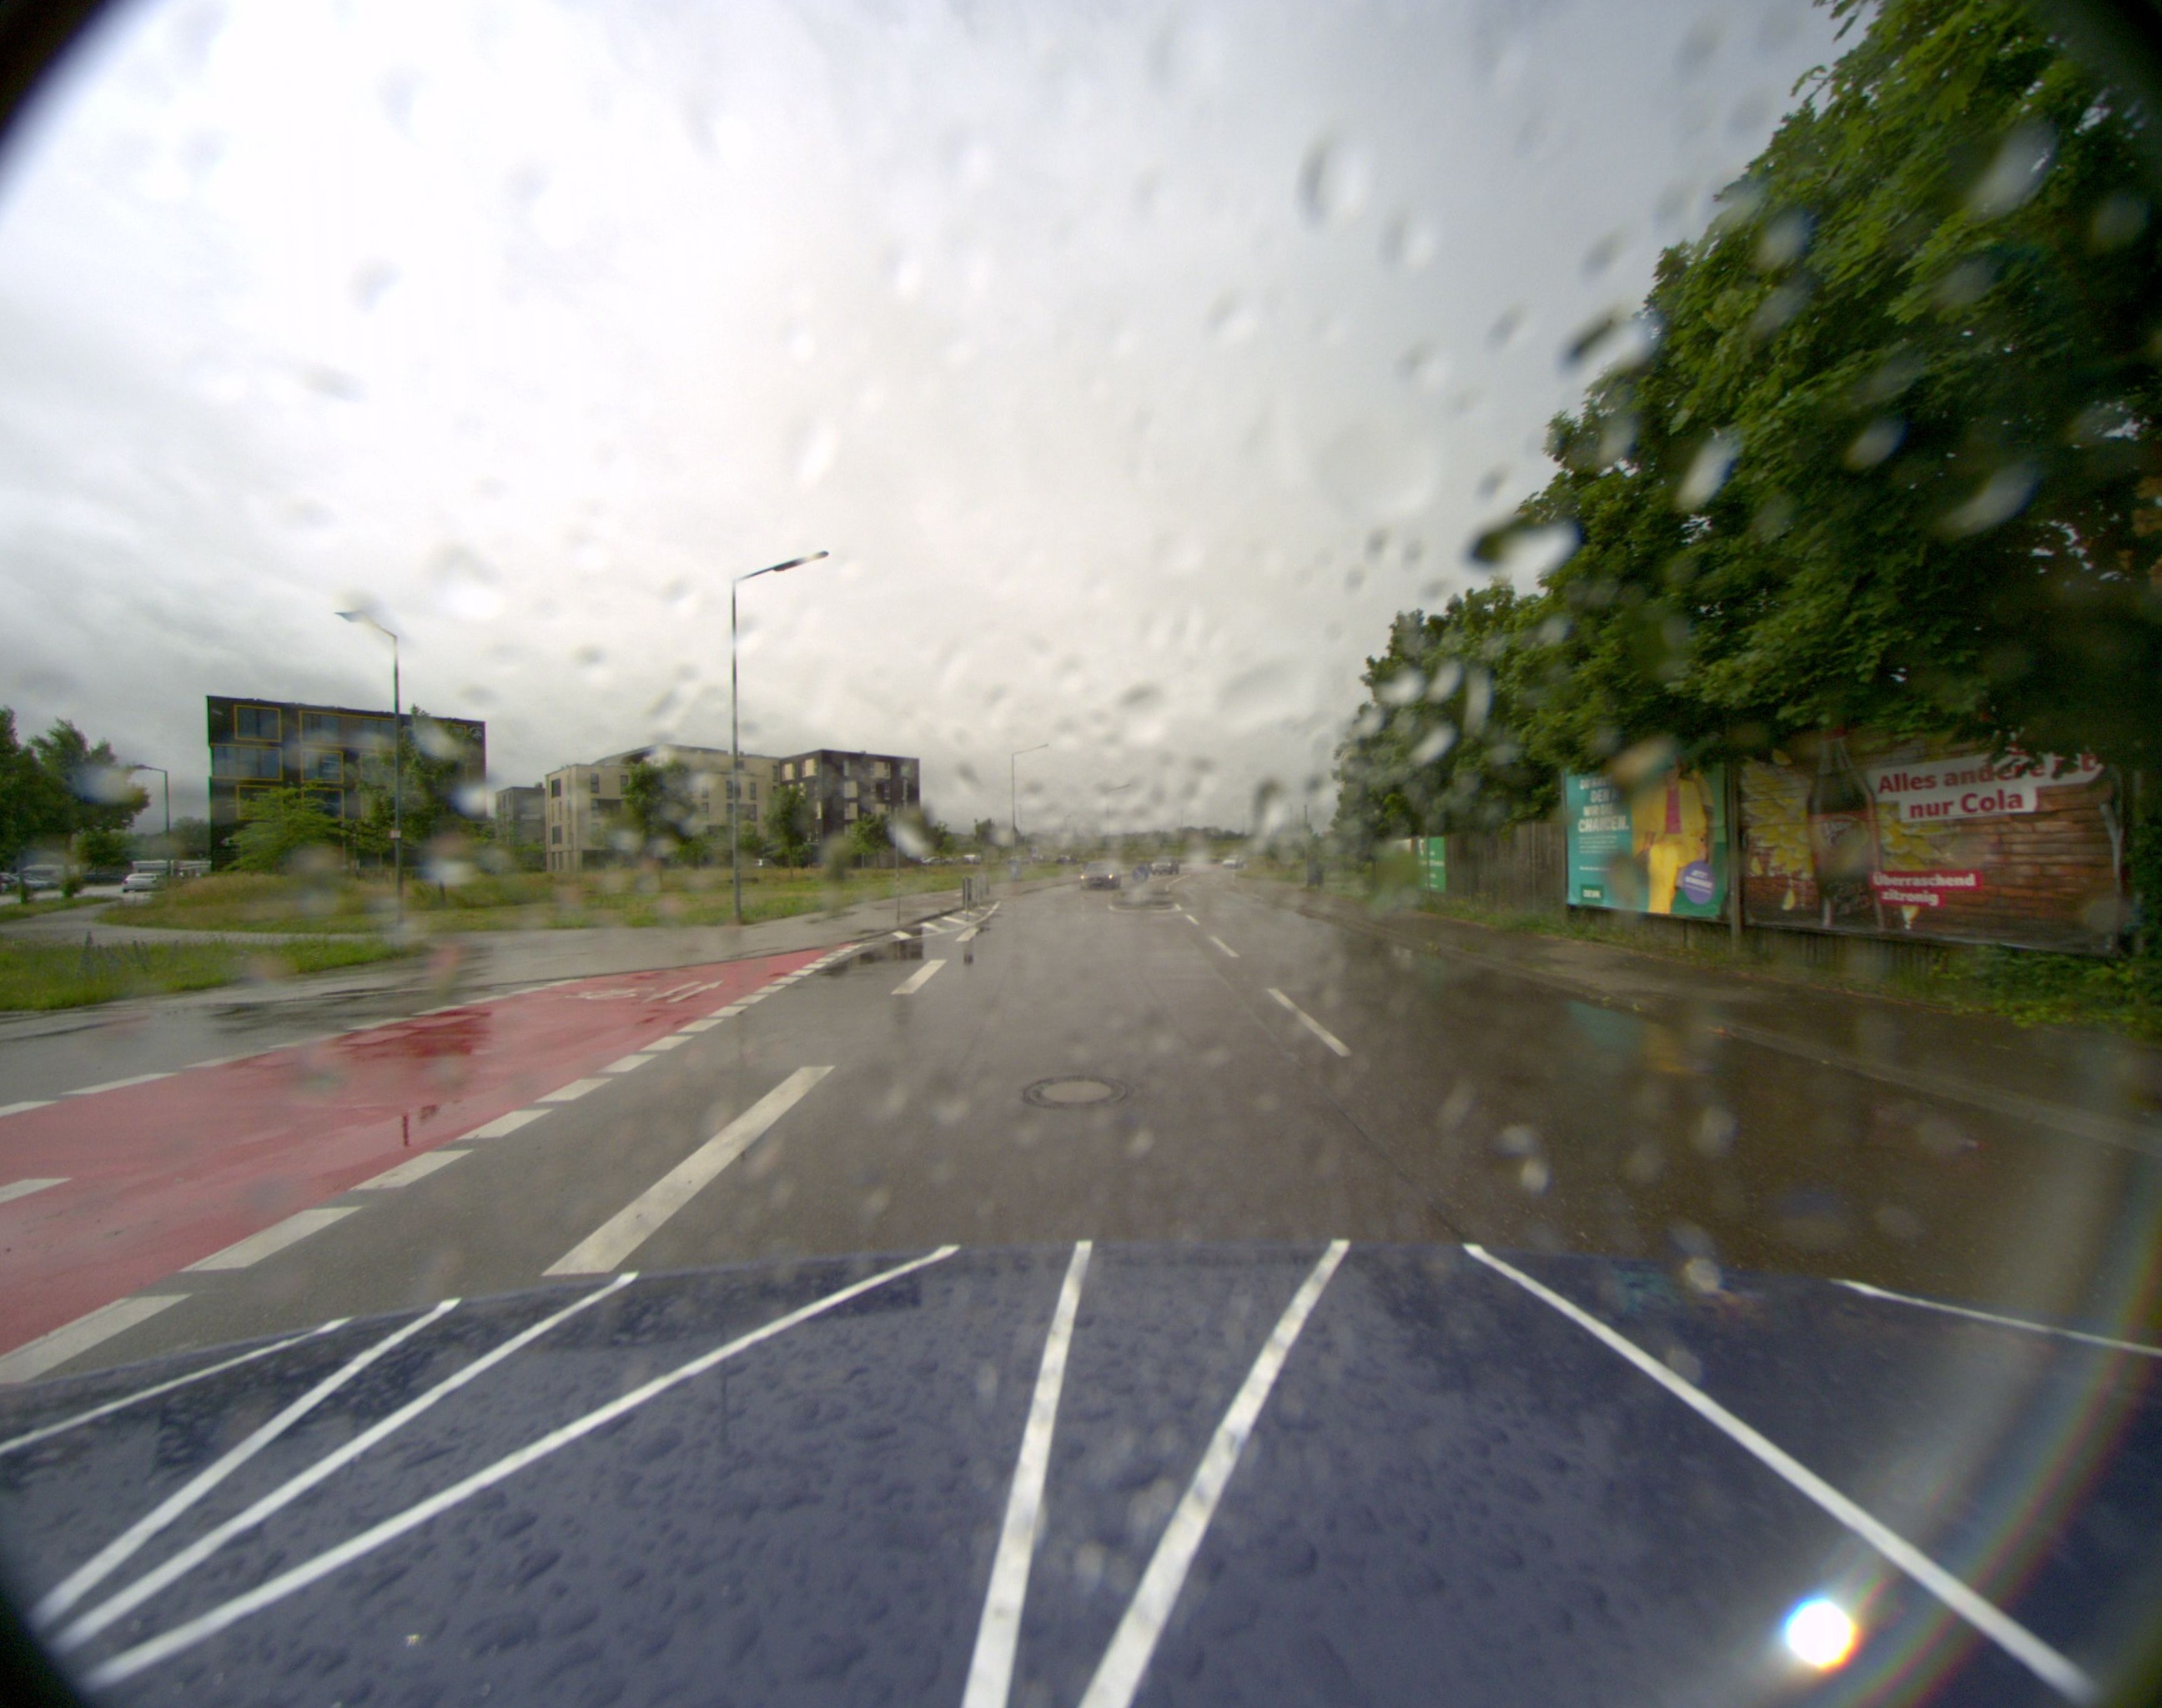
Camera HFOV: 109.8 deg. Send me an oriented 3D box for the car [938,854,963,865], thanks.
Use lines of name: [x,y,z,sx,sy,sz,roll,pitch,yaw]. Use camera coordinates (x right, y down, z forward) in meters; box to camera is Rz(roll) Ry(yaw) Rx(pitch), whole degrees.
car: [-20.988,0.900,122.175,3.656,1.651,1.646,-2,0,-35]

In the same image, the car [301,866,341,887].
car: [-60.229,1.773,60.201,3.658,1.573,1.652,-1,0,36]

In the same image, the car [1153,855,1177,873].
car: [7.866,0.916,71.012,1.645,1.623,3.672,-1,0,14]

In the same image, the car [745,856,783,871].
car: [-35.485,1.095,85.113,1.644,1.573,3.674,-1,0,25]

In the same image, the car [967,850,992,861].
car: [-18.402,0.253,137.491,4.008,2.002,1.994,-2,0,-42]

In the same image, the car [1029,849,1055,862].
car: [-6.447,0.244,126.237,3.989,2.002,2.004,-1,0,43]

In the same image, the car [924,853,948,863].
car: [-24.561,0.597,128.526,3.657,1.601,1.596,-2,0,-39]

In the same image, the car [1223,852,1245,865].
car: [20.412,0.642,101.254,1.794,1.623,3.825,-1,0,31]

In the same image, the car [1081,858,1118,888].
car: [1.006,0.971,39.565,1.723,1.423,3.819,-1,0,4]
